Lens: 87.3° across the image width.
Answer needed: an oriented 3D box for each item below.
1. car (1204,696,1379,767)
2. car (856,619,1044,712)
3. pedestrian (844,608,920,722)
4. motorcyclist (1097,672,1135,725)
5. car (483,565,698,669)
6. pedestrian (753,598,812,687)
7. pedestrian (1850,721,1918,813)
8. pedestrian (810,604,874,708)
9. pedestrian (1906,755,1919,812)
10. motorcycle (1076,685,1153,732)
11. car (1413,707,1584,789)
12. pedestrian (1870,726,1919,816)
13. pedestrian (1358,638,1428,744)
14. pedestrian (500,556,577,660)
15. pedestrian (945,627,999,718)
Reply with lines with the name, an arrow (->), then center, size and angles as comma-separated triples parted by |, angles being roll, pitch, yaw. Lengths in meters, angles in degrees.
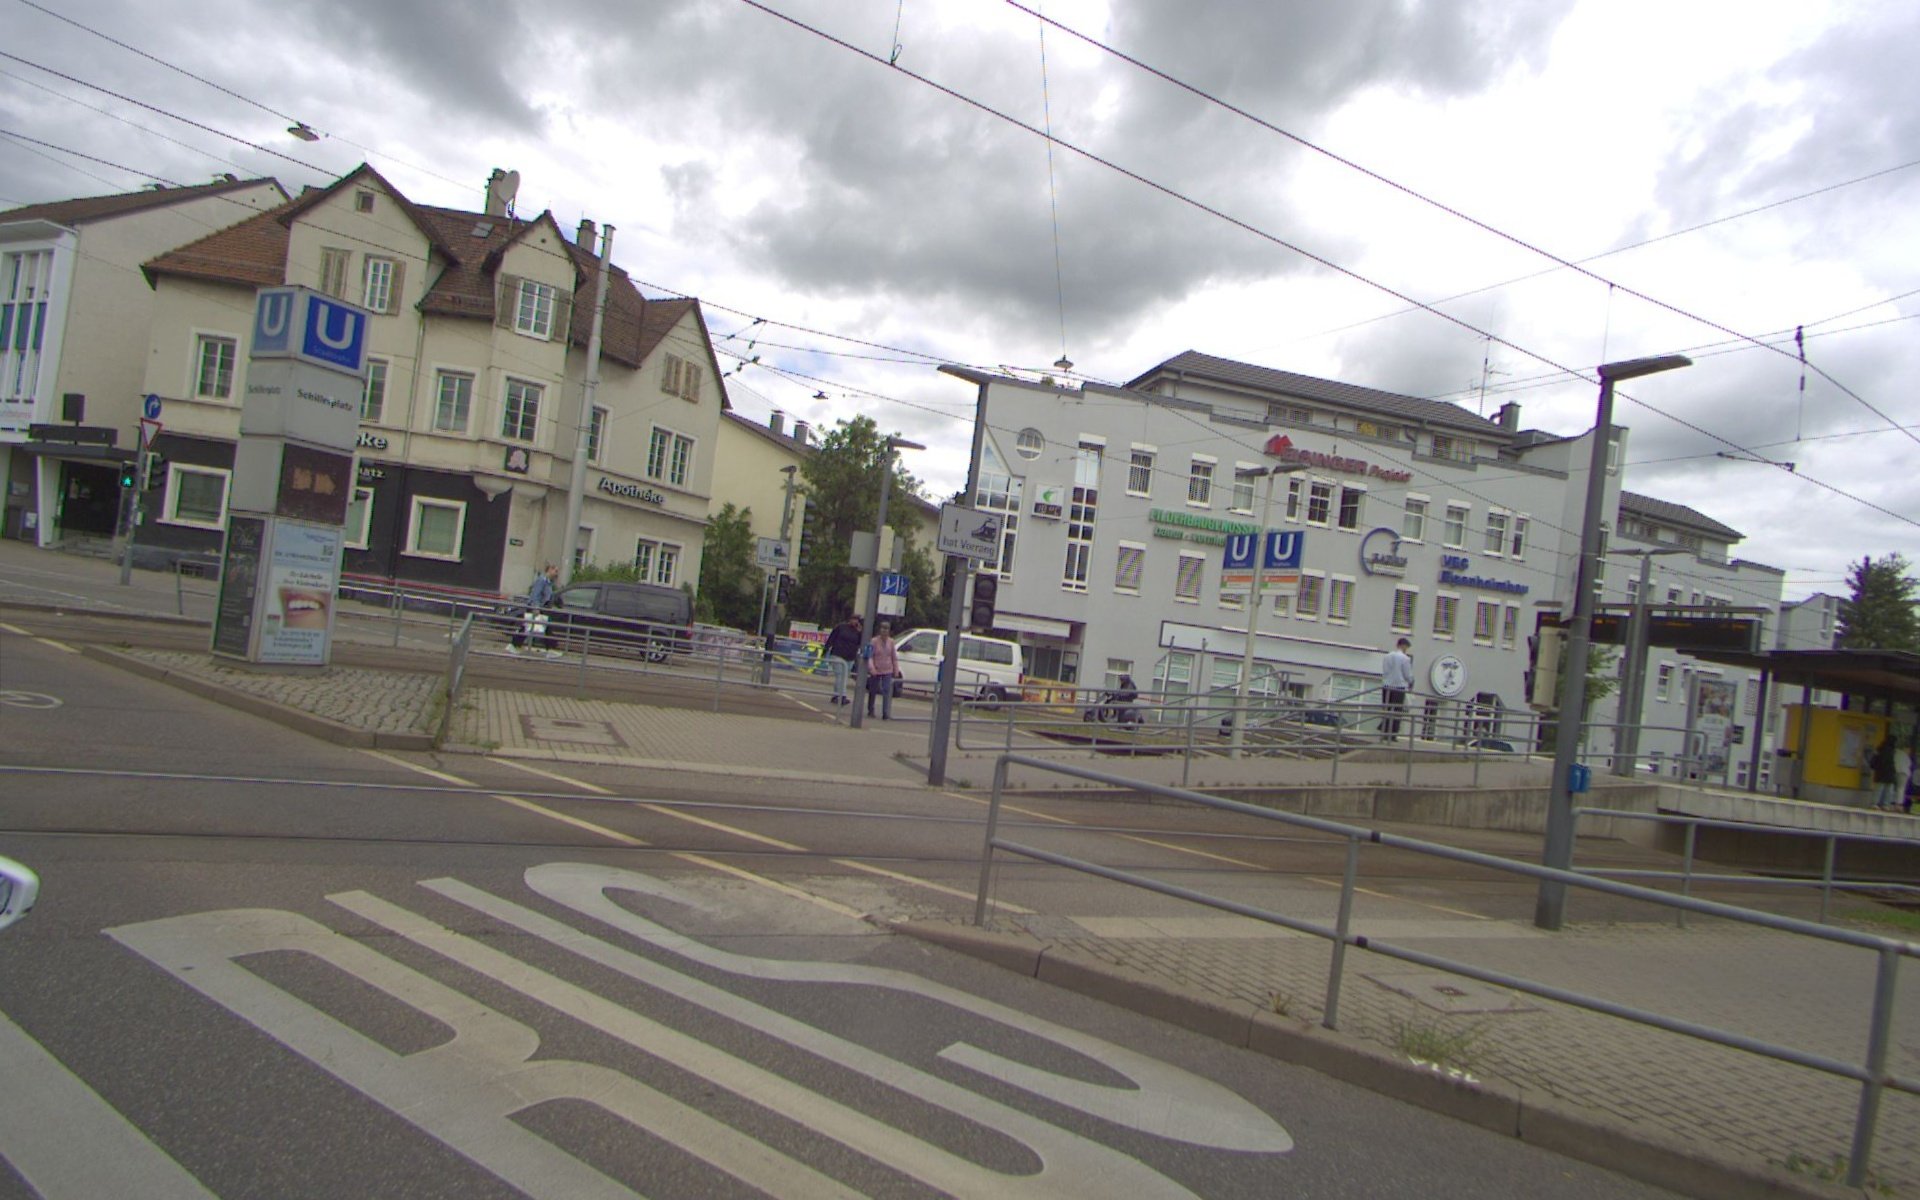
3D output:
car -> 10.151, 4.038, 30.920 | 4.711, 1.487, 1.986 | 8, -3, -15
car -> -0.301, 1.821, 28.019 | 4.711, 1.940, 1.986 | 8, -3, -15
pedestrian -> -1.283, 1.070, 16.520 | 0.641, 1.737, 0.786 | 7, -2, 43
motorcyclist -> 4.471, 2.821, 28.920 | 0.682, 1.410, 0.762 | 8, -2, -15
car -> -9.033, 0.418, 24.783 | 4.636, 1.843, 1.854 | 9, 0, -23
pedestrian -> -3.750, 0.891, 21.256 | 0.783, 1.737, 0.644 | 10, -2, -35
pedestrian -> 19.169, 3.457, 20.871 | 0.781, 1.737, 0.685 | 9, -2, -29
pedestrian -> -2.101, 0.999, 17.947 | 0.641, 1.739, 0.701 | 7, 0, 42
pedestrian -> 22.349, 4.273, 23.156 | 0.582, 1.279, 0.567 | 9, -2, -24
motorcycle -> 4.450, 3.124, 28.913 | 1.950, 1.085, 0.762 | 8, -3, -15
car -> 17.444, 4.788, 32.636 | 4.711, 1.940, 1.986 | 8, -3, -15
pedestrian -> 20.456, 3.706, 21.830 | 0.776, 1.794, 0.689 | 7, -2, 34
pedestrian -> 7.588, 1.592, 17.638 | 0.642, 1.739, 0.700 | 7, 0, -26
pedestrian -> -7.540, 0.160, 18.019 | 0.714, 1.739, 0.844 | 7, 0, 21
pedestrian -> 0.240, 1.469, 20.627 | 0.641, 1.737, 0.786 | 9, -2, -19
